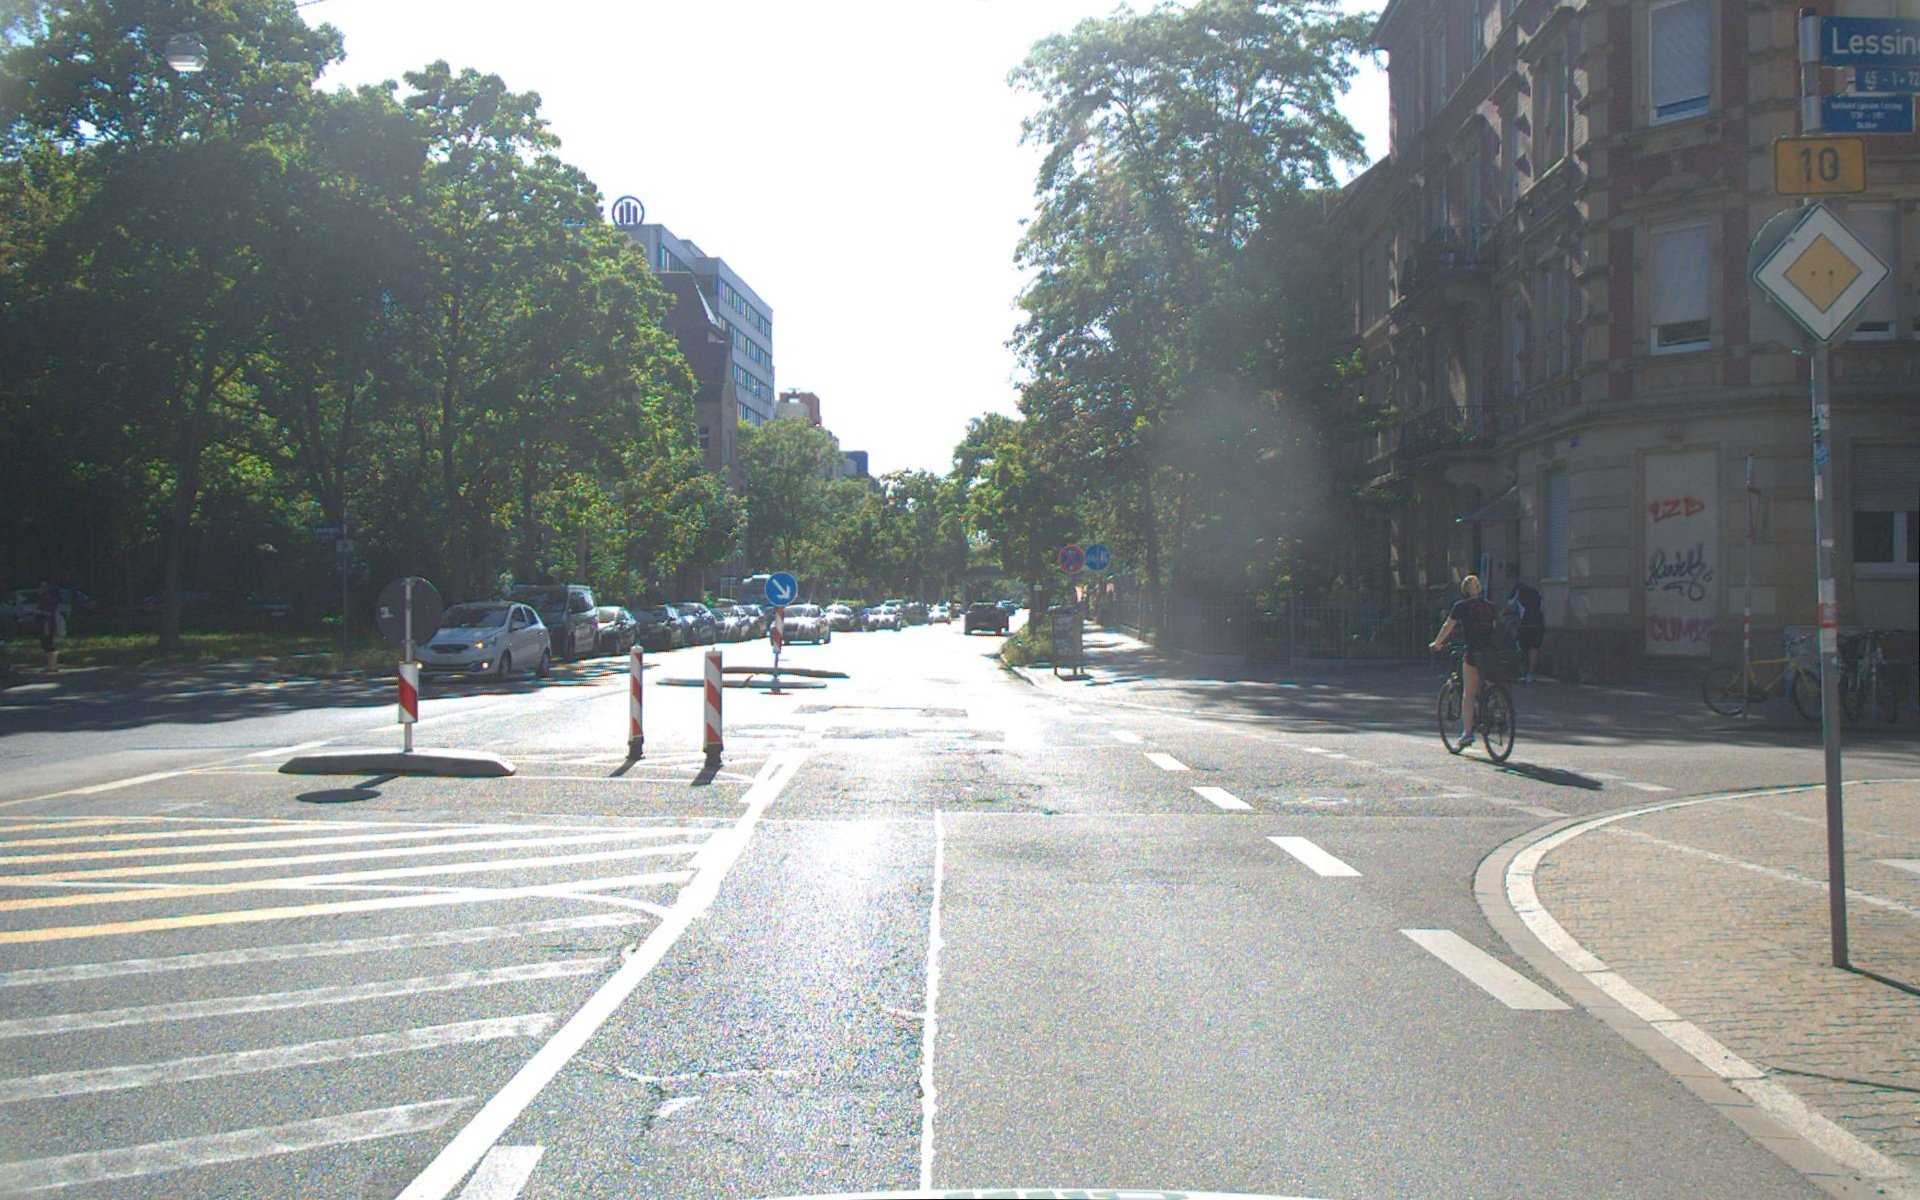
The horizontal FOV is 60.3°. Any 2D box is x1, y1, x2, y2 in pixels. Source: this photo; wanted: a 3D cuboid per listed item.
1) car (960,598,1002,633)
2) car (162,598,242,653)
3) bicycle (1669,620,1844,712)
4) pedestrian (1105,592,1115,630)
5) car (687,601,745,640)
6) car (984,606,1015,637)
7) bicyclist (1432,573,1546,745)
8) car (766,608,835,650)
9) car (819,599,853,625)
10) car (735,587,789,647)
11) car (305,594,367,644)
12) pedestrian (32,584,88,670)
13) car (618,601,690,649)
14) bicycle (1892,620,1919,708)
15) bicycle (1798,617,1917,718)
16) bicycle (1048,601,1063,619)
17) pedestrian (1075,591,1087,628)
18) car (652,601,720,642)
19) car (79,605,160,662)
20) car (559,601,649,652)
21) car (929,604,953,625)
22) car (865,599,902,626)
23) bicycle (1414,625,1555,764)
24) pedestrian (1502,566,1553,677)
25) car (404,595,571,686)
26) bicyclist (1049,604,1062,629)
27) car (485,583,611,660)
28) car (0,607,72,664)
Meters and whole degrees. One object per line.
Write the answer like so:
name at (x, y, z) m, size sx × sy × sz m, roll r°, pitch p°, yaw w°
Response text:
car at (1.006, 0.750, 81.271) m, size 1.856 × 1.545 × 4.000 m, roll 2°, pitch 1°, yaw -1°
car at (-24.870, 0.807, 54.179) m, size 1.956 × 1.691 × 3.957 m, roll 0°, pitch 0°, yaw -31°
bicycle at (10.293, 0.827, 21.413) m, size 1.938 × 1.114 × 0.690 m, roll 0°, pitch 0°, yaw 45°
pedestrian at (8.294, 0.621, 91.397) m, size 0.466 × 2.049 × 0.492 m, roll 1°, pitch -3°, yaw -2°
car at (-9.501, 0.792, 64.678) m, size 1.491 × 1.457 × 3.339 m, roll 0°, pitch 0°, yaw 5°
car at (2.398, 1.247, 99.046) m, size 1.781 × 1.771 × 4.001 m, roll 0°, pitch 0°, yaw 2°
bicyclist at (5.150, 0.552, 16.171) m, size 0.726 × 1.607 × 1.100 m, roll 1°, pitch 1°, yaw -1°
car at (-5.867, 1.079, 61.416) m, size 1.746 × 1.486 × 4.417 m, roll 1°, pitch -1°, yaw 5°
car at (-7.382, 0.716, 98.638) m, size 1.765 × 1.530 × 3.807 m, roll 0°, pitch 0°, yaw -1°
car at (-9.288, 0.754, 77.870) m, size 1.789 × 2.697 × 5.163 m, roll 0°, pitch 0°, yaw 2°
car at (-21.815, 0.632, 57.729) m, size 1.947 × 1.691 × 3.973 m, roll 0°, pitch 0°, yaw -22°
pedestrian at (-17.435, 0.515, 32.053) m, size 0.656 × 1.655 × 0.714 m, roll 0°, pitch 0°, yaw 31°
car at (-10.241, 0.853, 55.471) m, size 1.491 × 1.458 × 3.338 m, roll 1°, pitch -3°, yaw 5°
bicycle at (13.112, 0.857, 21.687) m, size 0.711 × 1.151 × 2.033 m, roll 0°, pitch 0°, yaw 3°
bicycle at (11.673, 0.855, 21.578) m, size 0.566 × 1.113 × 1.973 m, roll 1°, pitch 3°, yaw 4°
bicycle at (5.302, 0.550, 91.723) m, size 0.661 × 0.954 × 2.280 m, roll 0°, pitch -2°, yaw -1°
pedestrian at (6.844, 0.543, 93.484) m, size 0.602 × 2.049 × 0.681 m, roll 0°, pitch 0°, yaw -2°
car at (-10.062, 0.764, 60.945) m, size 1.491 × 1.457 × 3.556 m, roll 0°, pitch 0°, yaw 7°
car at (-27.125, 1.040, 53.335) m, size 1.957 × 1.691 × 3.955 m, roll 0°, pitch 0°, yaw -33°
car at (-10.696, 0.822, 49.972) m, size 1.678 × 1.377 × 4.000 m, roll 1°, pitch -3°, yaw 2°
car at (-1.543, 1.177, 133.612) m, size 1.895 × 1.546 × 4.029 m, roll 1°, pitch -3°, yaw -1°
car at (-4.398, 0.724, 95.868) m, size 1.604 × 1.545 × 4.033 m, roll 0°, pitch 0°, yaw 5°
bicycle at (5.150, 0.895, 16.376) m, size 0.726 × 1.240 × 1.960 m, roll -2°, pitch 0°, yaw -1°
pedestrian at (9.564, 0.374, 27.897) m, size 0.642 × 1.848 × 0.751 m, roll 1°, pitch -3°, yaw 3°
car at (-8.860, 0.721, 31.342) m, size 1.721 × 1.545 × 3.862 m, roll -1°, pitch 1°, yaw 5°
bicyclist at (5.281, 0.891, 91.777) m, size 0.666 × 1.351 × 0.636 m, roll 1°, pitch -3°, yaw -2°
car at (-11.090, 0.552, 44.883) m, size 2.153 × 1.963 × 4.862 m, roll 0°, pitch 0°, yaw 0°
car at (-29.347, 1.079, 52.192) m, size 1.958 × 1.691 × 3.952 m, roll 0°, pitch 0°, yaw -34°
